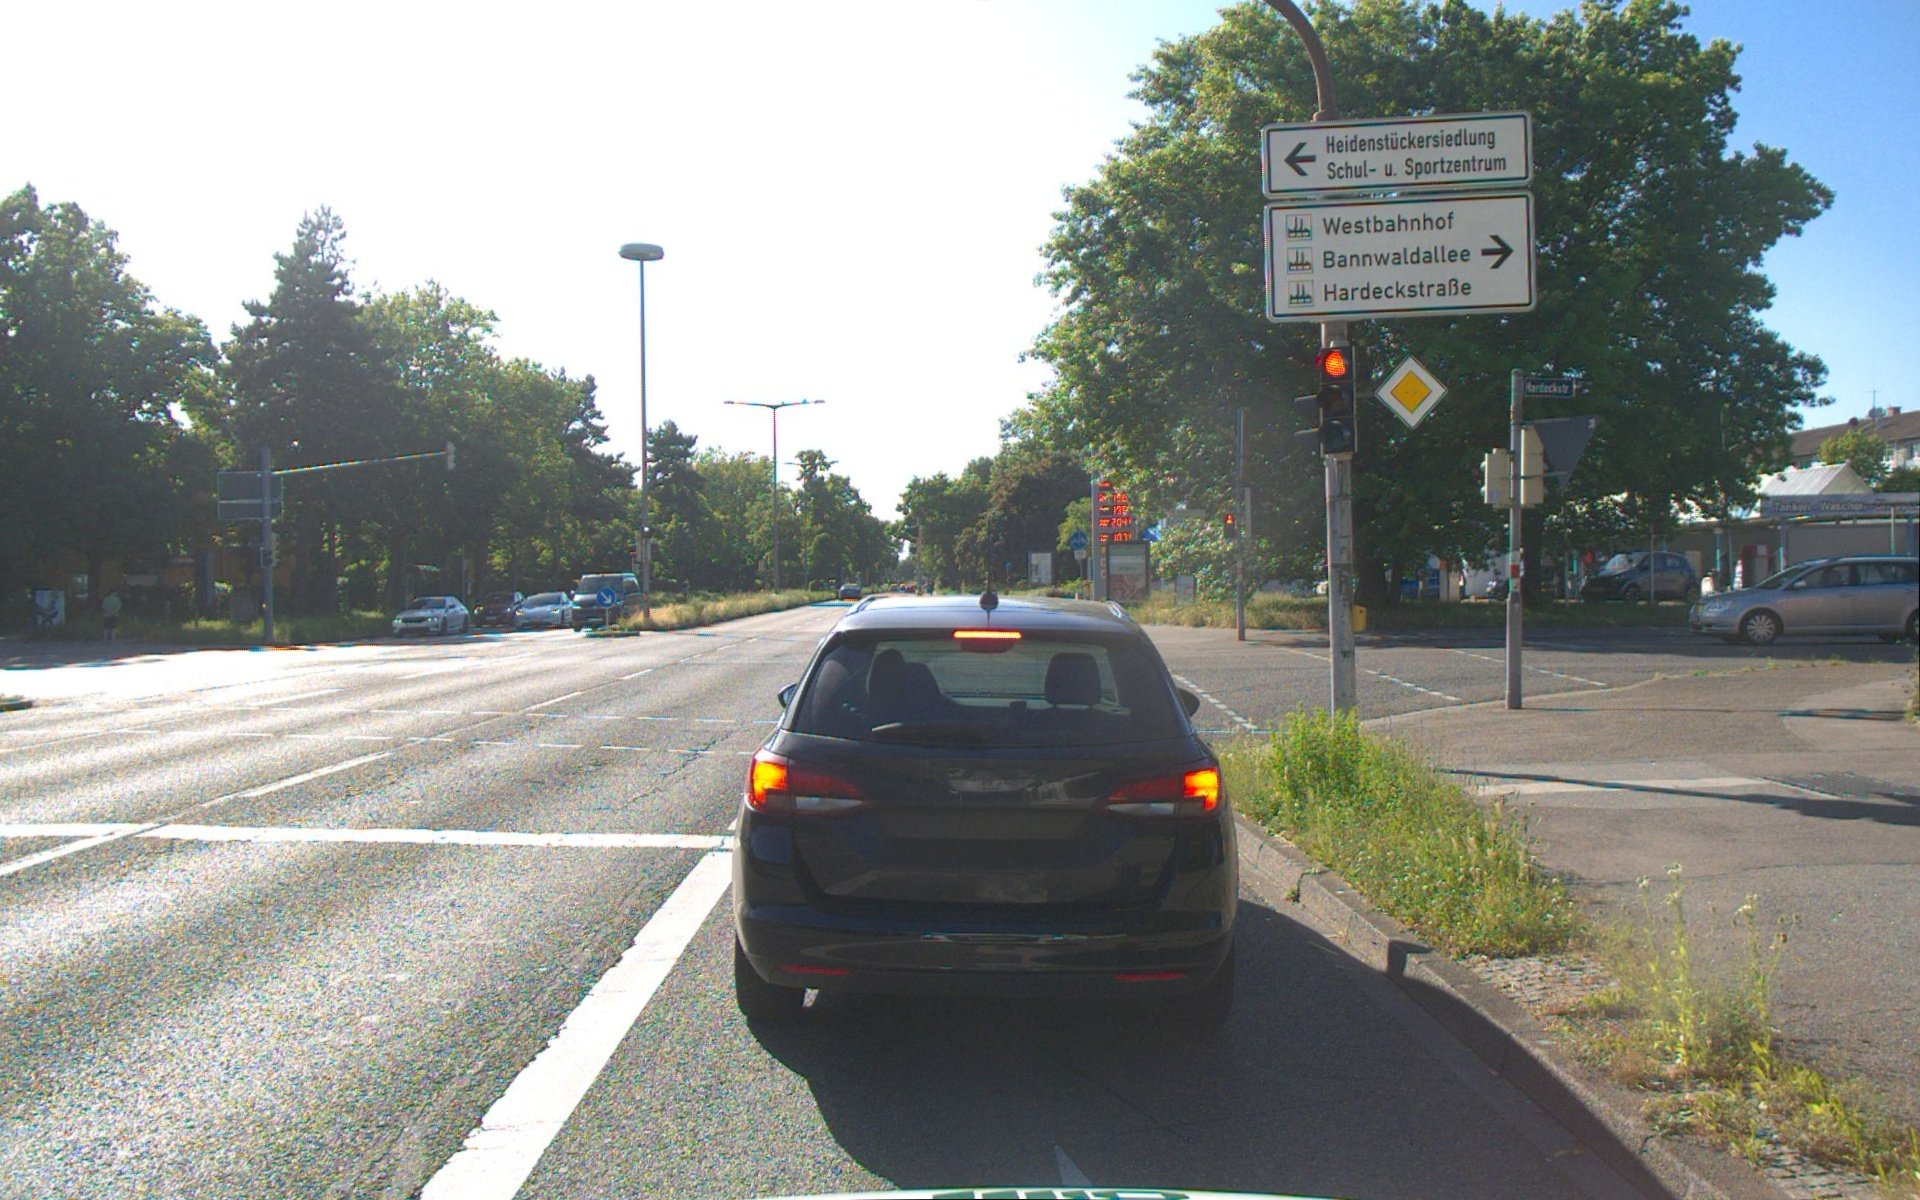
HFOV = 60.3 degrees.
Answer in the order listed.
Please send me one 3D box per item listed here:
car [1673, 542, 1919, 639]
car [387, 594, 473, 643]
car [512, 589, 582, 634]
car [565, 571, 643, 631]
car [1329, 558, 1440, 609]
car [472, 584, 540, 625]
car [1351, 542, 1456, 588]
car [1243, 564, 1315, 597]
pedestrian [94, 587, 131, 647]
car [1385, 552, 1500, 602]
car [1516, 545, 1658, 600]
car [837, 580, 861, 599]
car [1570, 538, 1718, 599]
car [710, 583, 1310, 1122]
[{"bbox_3d":[15.170,-0.155,29.048,4.519,1.601,2.002,-1,-1,10],"label":"car"},{"bbox_3d":[-19.680,0.675,61.554,1.826,1.713,4.259,1,0,-1],"label":"car"},{"bbox_3d":[-16.601,0.460,66.678,1.826,1.713,3.999,1,0,-1],"label":"car"},{"bbox_3d":[-12.720,0.042,59.342,1.953,2.049,3.999,1,0,-1],"label":"car"},{"bbox_3d":[15.202,-0.573,59.280,3.668,1.714,1.689,1,0,-28],"label":"car"},{"bbox_3d":[-20.191,0.174,73.669,1.953,1.780,3.999,-1,0,-1],"label":"car"},{"bbox_3d":[17.476,-1.373,65.293,3.638,1.714,1.703,1,0,-4],"label":"car"},{"bbox_3d":[17.832,-1.065,92.546,3.638,1.714,1.703,1,0,-4],"label":"car"},{"bbox_3d":[-26.810,0.523,52.328,0.828,1.867,0.550,-1,0,3],"label":"pedestrian"},{"bbox_3d":[16.653,-0.791,57.011,3.800,1.590,1.785,1,0,-33],"label":"car"},{"bbox_3d":[18.970,-0.810,50.067,3.779,1.508,1.794,1,0,-20],"label":"car"},{"bbox_3d":[-9.471,-0.853,141.448,1.850,1.579,3.999,-1,0,-1],"label":"car"},{"bbox_3d":[19.920,-0.903,48.207,3.779,1.640,1.794,1,0,-20],"label":"car"},{"bbox_3d":[0.114,0.722,6.645,1.720,1.535,3.807,0,0,-1],"label":"car"}]
